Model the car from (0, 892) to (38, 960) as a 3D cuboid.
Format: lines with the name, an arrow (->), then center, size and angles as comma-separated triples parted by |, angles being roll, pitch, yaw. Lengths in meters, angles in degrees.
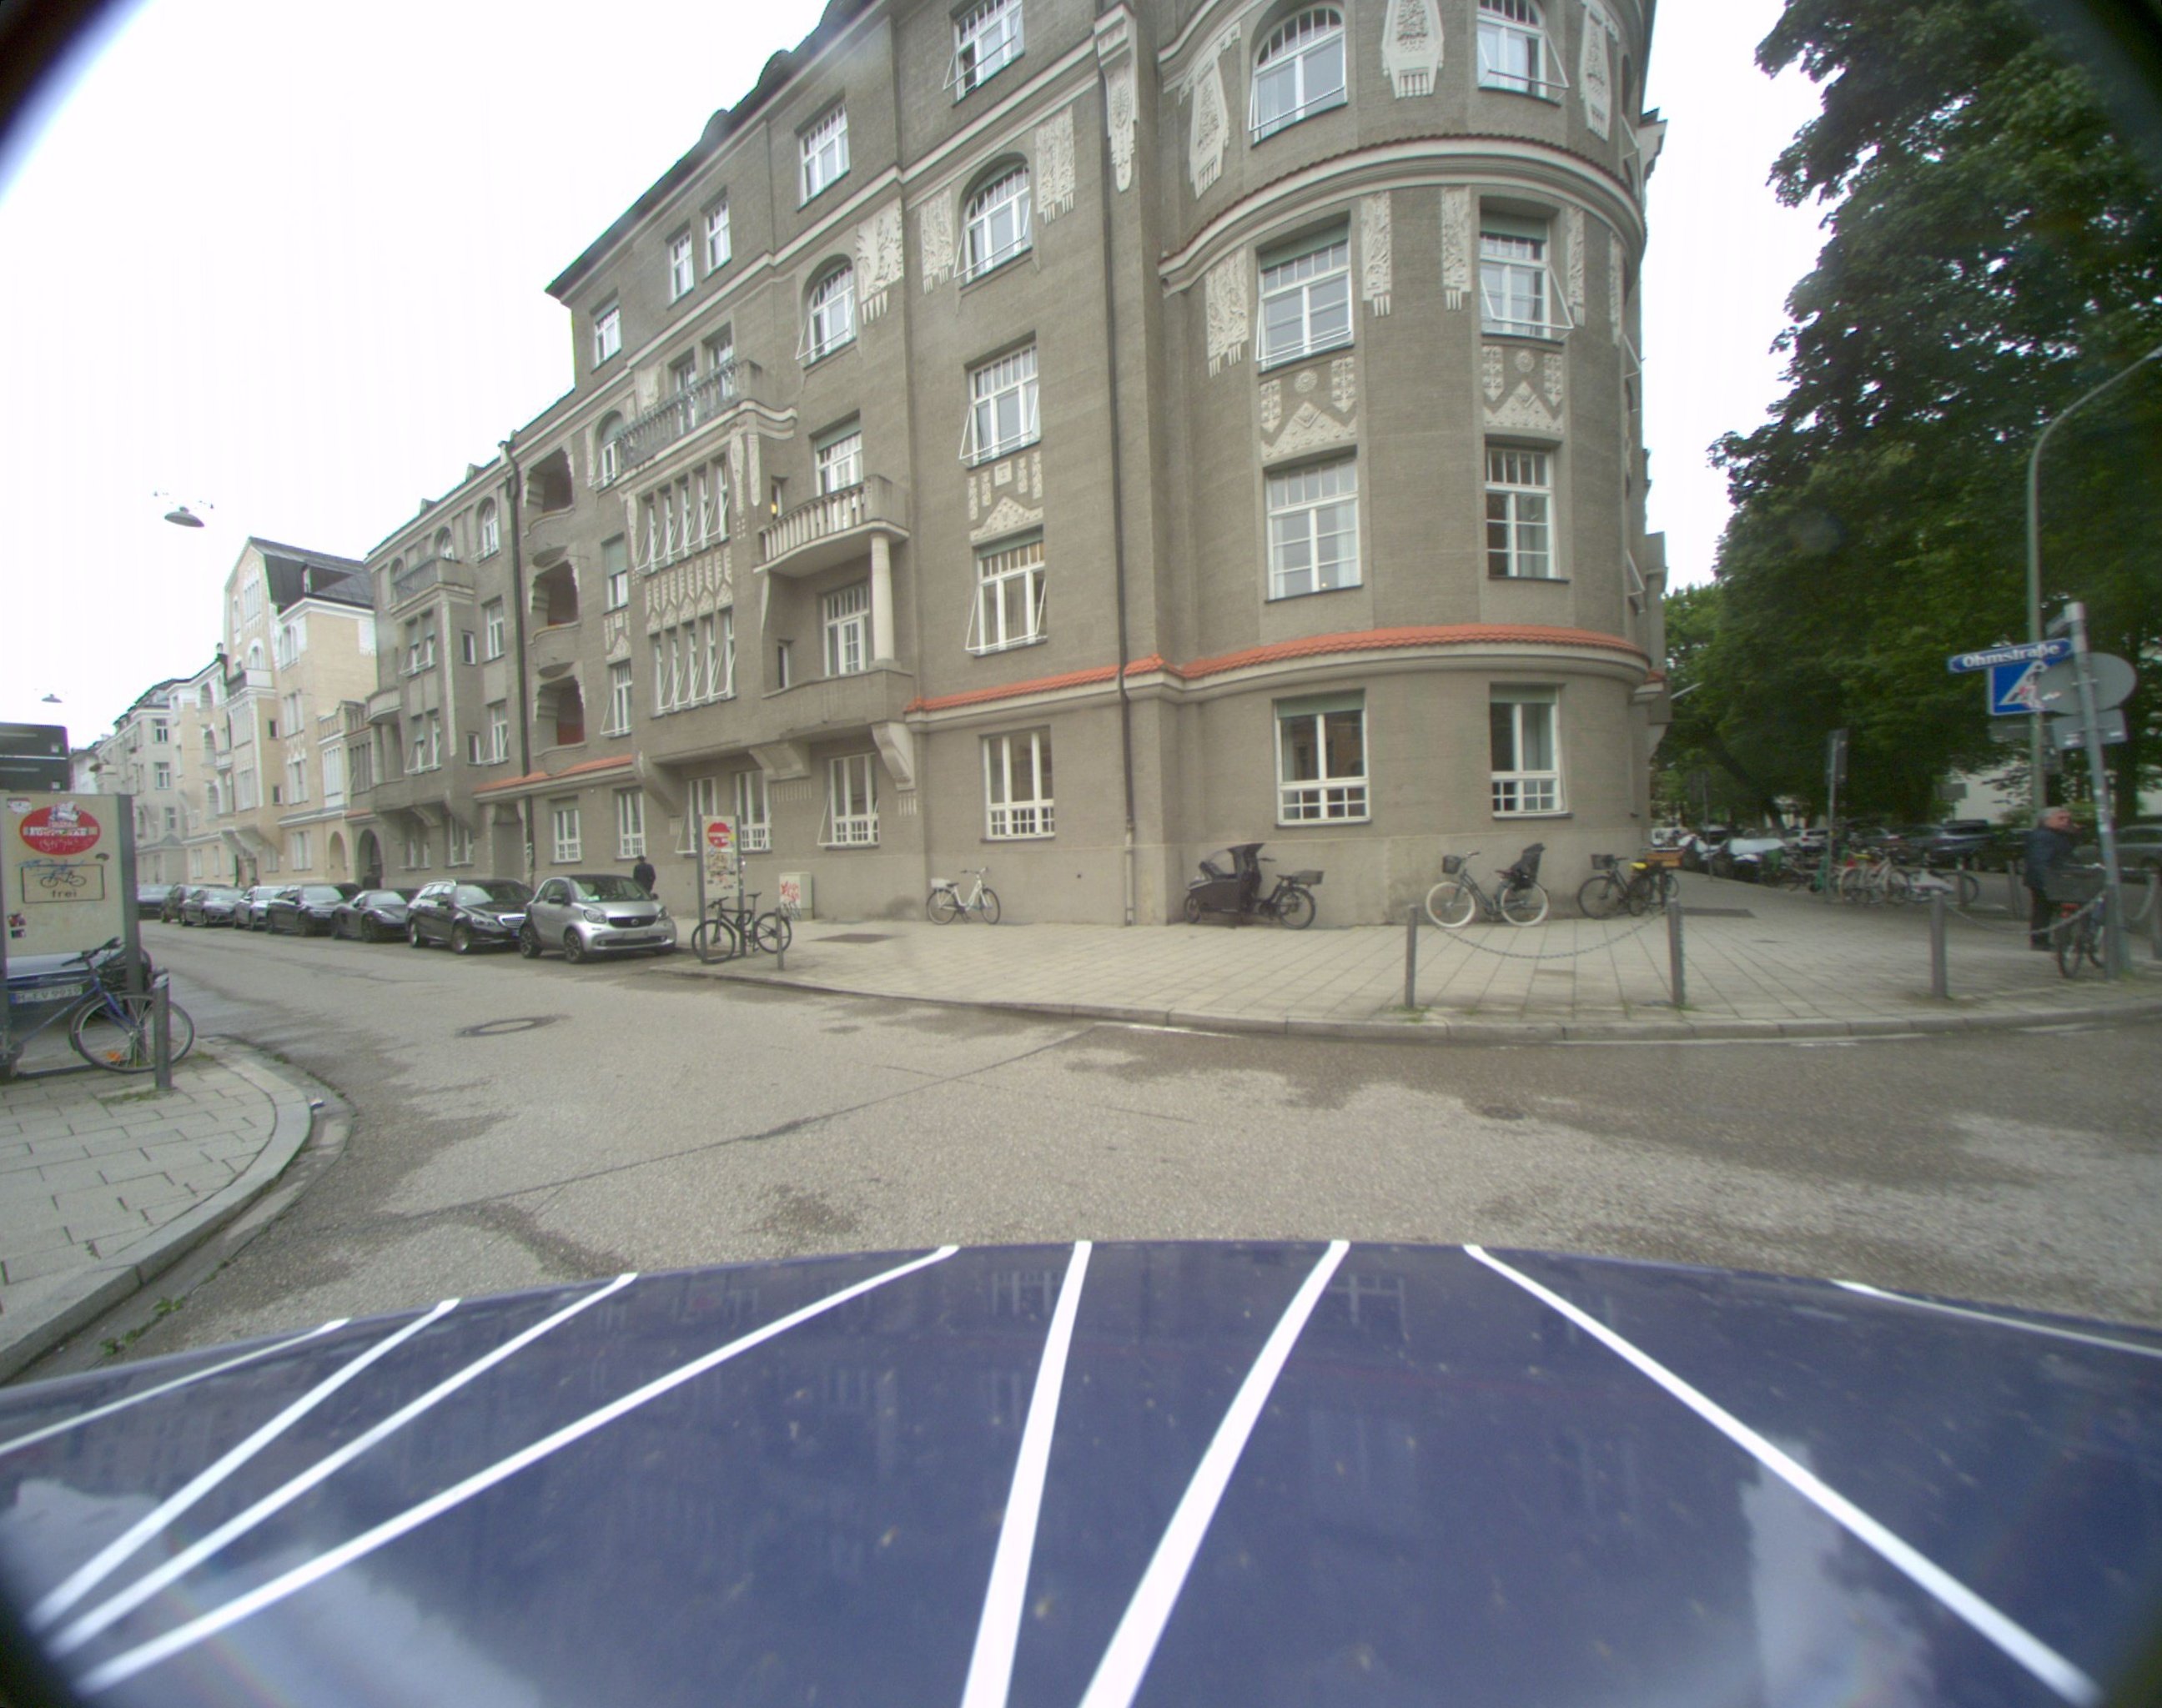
car -> -27.676, 1.791, 18.869 | 3.958, 1.583, 1.642 | -2, 2, 31

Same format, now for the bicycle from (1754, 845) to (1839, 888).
bicycle -> 19.957, 0.336, 21.207 | 0.513, 1.140, 1.679 | -4, 2, -41

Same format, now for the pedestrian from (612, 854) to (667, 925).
pedestrian -> -11.649, 0.924, 20.052 | 0.933, 1.777, 0.843 | -1, 2, 36

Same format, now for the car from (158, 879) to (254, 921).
car -> -36.514, 1.896, 31.691 | 3.804, 1.563, 1.811 | -2, 2, 29

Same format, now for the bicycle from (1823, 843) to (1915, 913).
bicycle -> 14.175, 0.408, 13.666 | 1.685, 1.140, 0.511 | -3, 2, -20

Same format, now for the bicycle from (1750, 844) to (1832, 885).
bicycle -> 20.514, 0.306, 21.976 | 0.513, 1.140, 1.679 | -4, 2, -41

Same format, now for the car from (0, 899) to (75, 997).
car -> -18.796, 1.574, 12.880 | 3.845, 1.463, 1.642 | -2, 2, 31

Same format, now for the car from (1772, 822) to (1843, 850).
car -> 40.104, -0.982, 42.057 | 1.773, 1.424, 4.524 | -2, 1, 29

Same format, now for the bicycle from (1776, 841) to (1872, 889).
bicycle -> 18.632, 0.275, 19.077 | 0.513, 1.140, 1.679 | -4, 2, -41

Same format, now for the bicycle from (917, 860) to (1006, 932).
bicycle -> -2.392, 0.830, 15.200 | 1.671, 1.342, 0.621 | -2, 2, 29

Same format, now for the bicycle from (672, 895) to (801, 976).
bicycle -> -5.397, 1.237, 12.020 | 0.539, 1.009, 1.811 | -1, 2, 32

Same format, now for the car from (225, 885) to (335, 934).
car -> -26.709, 1.800, 25.294 | 4.427, 1.423, 1.815 | -2, 0, 35

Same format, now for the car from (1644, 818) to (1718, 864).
car -> 27.824, -0.634, 35.398 | 1.995, 1.941, 4.668 | -2, 1, 30

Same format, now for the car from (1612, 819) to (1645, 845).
car -> 45.248, -1.850, 62.859 | 1.995, 1.941, 4.669 | -1, 2, 33

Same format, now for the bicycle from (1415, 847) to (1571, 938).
bicycle -> 6.206, 0.564, 11.527 | 1.924, 1.249, 0.738 | -2, 2, 2

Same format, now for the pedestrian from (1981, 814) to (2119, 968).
pedestrian -> 10.939, 0.389, 8.587 | 0.813, 1.632, 0.725 | -3, 2, -18

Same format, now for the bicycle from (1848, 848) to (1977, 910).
bicycle -> 16.405, 0.486, 15.033 | 0.513, 1.140, 1.704 | -4, 2, -41

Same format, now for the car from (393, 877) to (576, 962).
car -> -12.967, 1.323, 16.413 | 4.694, 1.506, 1.764 | -2, 1, 35

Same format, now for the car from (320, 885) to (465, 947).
car -> -17.607, 1.522, 19.397 | 4.085, 1.323, 1.764 | -2, 1, 34

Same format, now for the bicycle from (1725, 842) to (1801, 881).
bicycle -> 20.770, 0.228, 23.166 | 0.513, 1.140, 1.679 | -4, 2, -41

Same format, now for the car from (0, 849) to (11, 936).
car -> -39.359, 1.376, 26.278 | 6.115, 2.943, 2.265 | -1, 3, 33

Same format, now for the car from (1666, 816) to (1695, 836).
car -> 63.025, -2.921, 79.916 | 1.995, 1.941, 4.669 | -1, 2, 33

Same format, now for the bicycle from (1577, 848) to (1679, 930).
bicycle -> 8.875, 0.532, 12.315 | 1.929, 1.151, 0.563 | -3, 5, -30

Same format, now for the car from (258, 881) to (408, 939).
car -> -21.975, 1.582, 22.284 | 4.766, 1.440, 2.004 | -2, 1, 32

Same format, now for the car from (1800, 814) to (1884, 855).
car -> 37.592, -0.962, 37.647 | 1.773, 1.825, 4.524 | -2, 1, 29

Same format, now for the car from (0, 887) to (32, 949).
car -> -32.631, 1.909, 22.230 | 4.661, 1.679, 2.003 | -2, 2, 34

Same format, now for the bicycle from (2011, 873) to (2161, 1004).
bicycle -> 9.598, 0.739, 7.109 | 2.010, 1.004, 0.511 | -3, 2, -20

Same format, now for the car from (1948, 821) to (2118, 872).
car -> 29.787, -0.252, 23.975 | 1.773, 1.424, 4.524 | -2, 1, 29

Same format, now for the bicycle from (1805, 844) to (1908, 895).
bicycle -> 18.432, 0.358, 18.081 | 0.513, 1.140, 1.679 | -4, 2, -41

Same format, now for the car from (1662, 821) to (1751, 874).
car -> 25.086, -0.315, 30.646 | 1.995, 1.941, 4.668 | -2, 1, 30

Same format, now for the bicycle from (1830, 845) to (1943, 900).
bicycle -> 17.744, 0.393, 16.764 | 0.513, 1.140, 1.679 | -4, 2, -41

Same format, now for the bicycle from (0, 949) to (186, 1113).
bicycle -> -8.188, 1.352, 5.680 | 1.800, 1.079, 0.664 | -2, -1, -30

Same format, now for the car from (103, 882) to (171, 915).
car -> -53.098, 2.481, 42.726 | 4.448, 1.639, 1.882 | -2, 2, 33

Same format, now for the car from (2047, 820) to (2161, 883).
car -> 26.665, -0.120, 18.828 | 1.773, 1.424, 4.524 | -2, 1, 29

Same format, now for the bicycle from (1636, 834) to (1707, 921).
bicycle -> 10.561, 0.378, 13.555 | 1.930, 1.405, 0.736 | -4, 2, -45

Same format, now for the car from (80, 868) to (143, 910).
car -> -63.792, 2.286, 49.976 | 5.662, 2.605, 2.110 | -2, 0, 34

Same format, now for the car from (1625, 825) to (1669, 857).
car -> 36.286, -0.866, 48.810 | 1.994, 1.941, 4.669 | -1, 2, 33

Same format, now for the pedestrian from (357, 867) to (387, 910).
pedestrian -> -30.903, 1.504, 33.108 | 0.728, 1.807, 0.720 | -1, 2, 32

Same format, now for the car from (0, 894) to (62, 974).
car -> -23.137, 1.660, 15.878 | 3.845, 1.528, 1.642 | -2, 2, 29

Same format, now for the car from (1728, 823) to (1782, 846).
car -> 44.988, -1.310, 50.779 | 1.773, 1.424, 4.524 | -2, 1, 29

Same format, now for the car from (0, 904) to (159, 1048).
car -> -13.942, 1.486, 9.921 | 4.598, 1.463, 1.701 | -2, 2, 31

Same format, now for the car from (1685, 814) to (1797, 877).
car -> 22.596, -0.327, 26.220 | 1.995, 1.941, 4.668 | -2, 1, 30

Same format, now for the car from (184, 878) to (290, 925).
car -> -31.393, 1.734, 28.236 | 4.595, 1.505, 1.846 | -2, 2, 33

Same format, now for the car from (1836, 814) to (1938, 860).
car -> 34.842, -0.744, 33.004 | 1.773, 1.808, 4.524 | -1, 1, 29

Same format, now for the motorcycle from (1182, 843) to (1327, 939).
motorcycle -> 2.824, 0.588, 12.436 | 2.141, 1.432, 0.739 | -2, 2, 32

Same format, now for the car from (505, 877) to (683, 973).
car -> -8.977, 1.226, 14.000 | 2.903, 1.506, 1.713 | -2, 0, 34

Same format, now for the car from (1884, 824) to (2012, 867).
car -> 32.276, -0.328, 28.462 | 1.773, 1.424, 4.524 | -2, 1, 29

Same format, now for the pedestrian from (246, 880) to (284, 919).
pedestrian -> -38.233, 2.106, 35.597 | 0.937, 1.719, 0.997 | -1, 2, 33

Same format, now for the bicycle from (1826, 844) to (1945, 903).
bicycle -> 16.726, 0.393, 15.835 | 0.467, 1.140, 1.679 | -4, 2, -41
